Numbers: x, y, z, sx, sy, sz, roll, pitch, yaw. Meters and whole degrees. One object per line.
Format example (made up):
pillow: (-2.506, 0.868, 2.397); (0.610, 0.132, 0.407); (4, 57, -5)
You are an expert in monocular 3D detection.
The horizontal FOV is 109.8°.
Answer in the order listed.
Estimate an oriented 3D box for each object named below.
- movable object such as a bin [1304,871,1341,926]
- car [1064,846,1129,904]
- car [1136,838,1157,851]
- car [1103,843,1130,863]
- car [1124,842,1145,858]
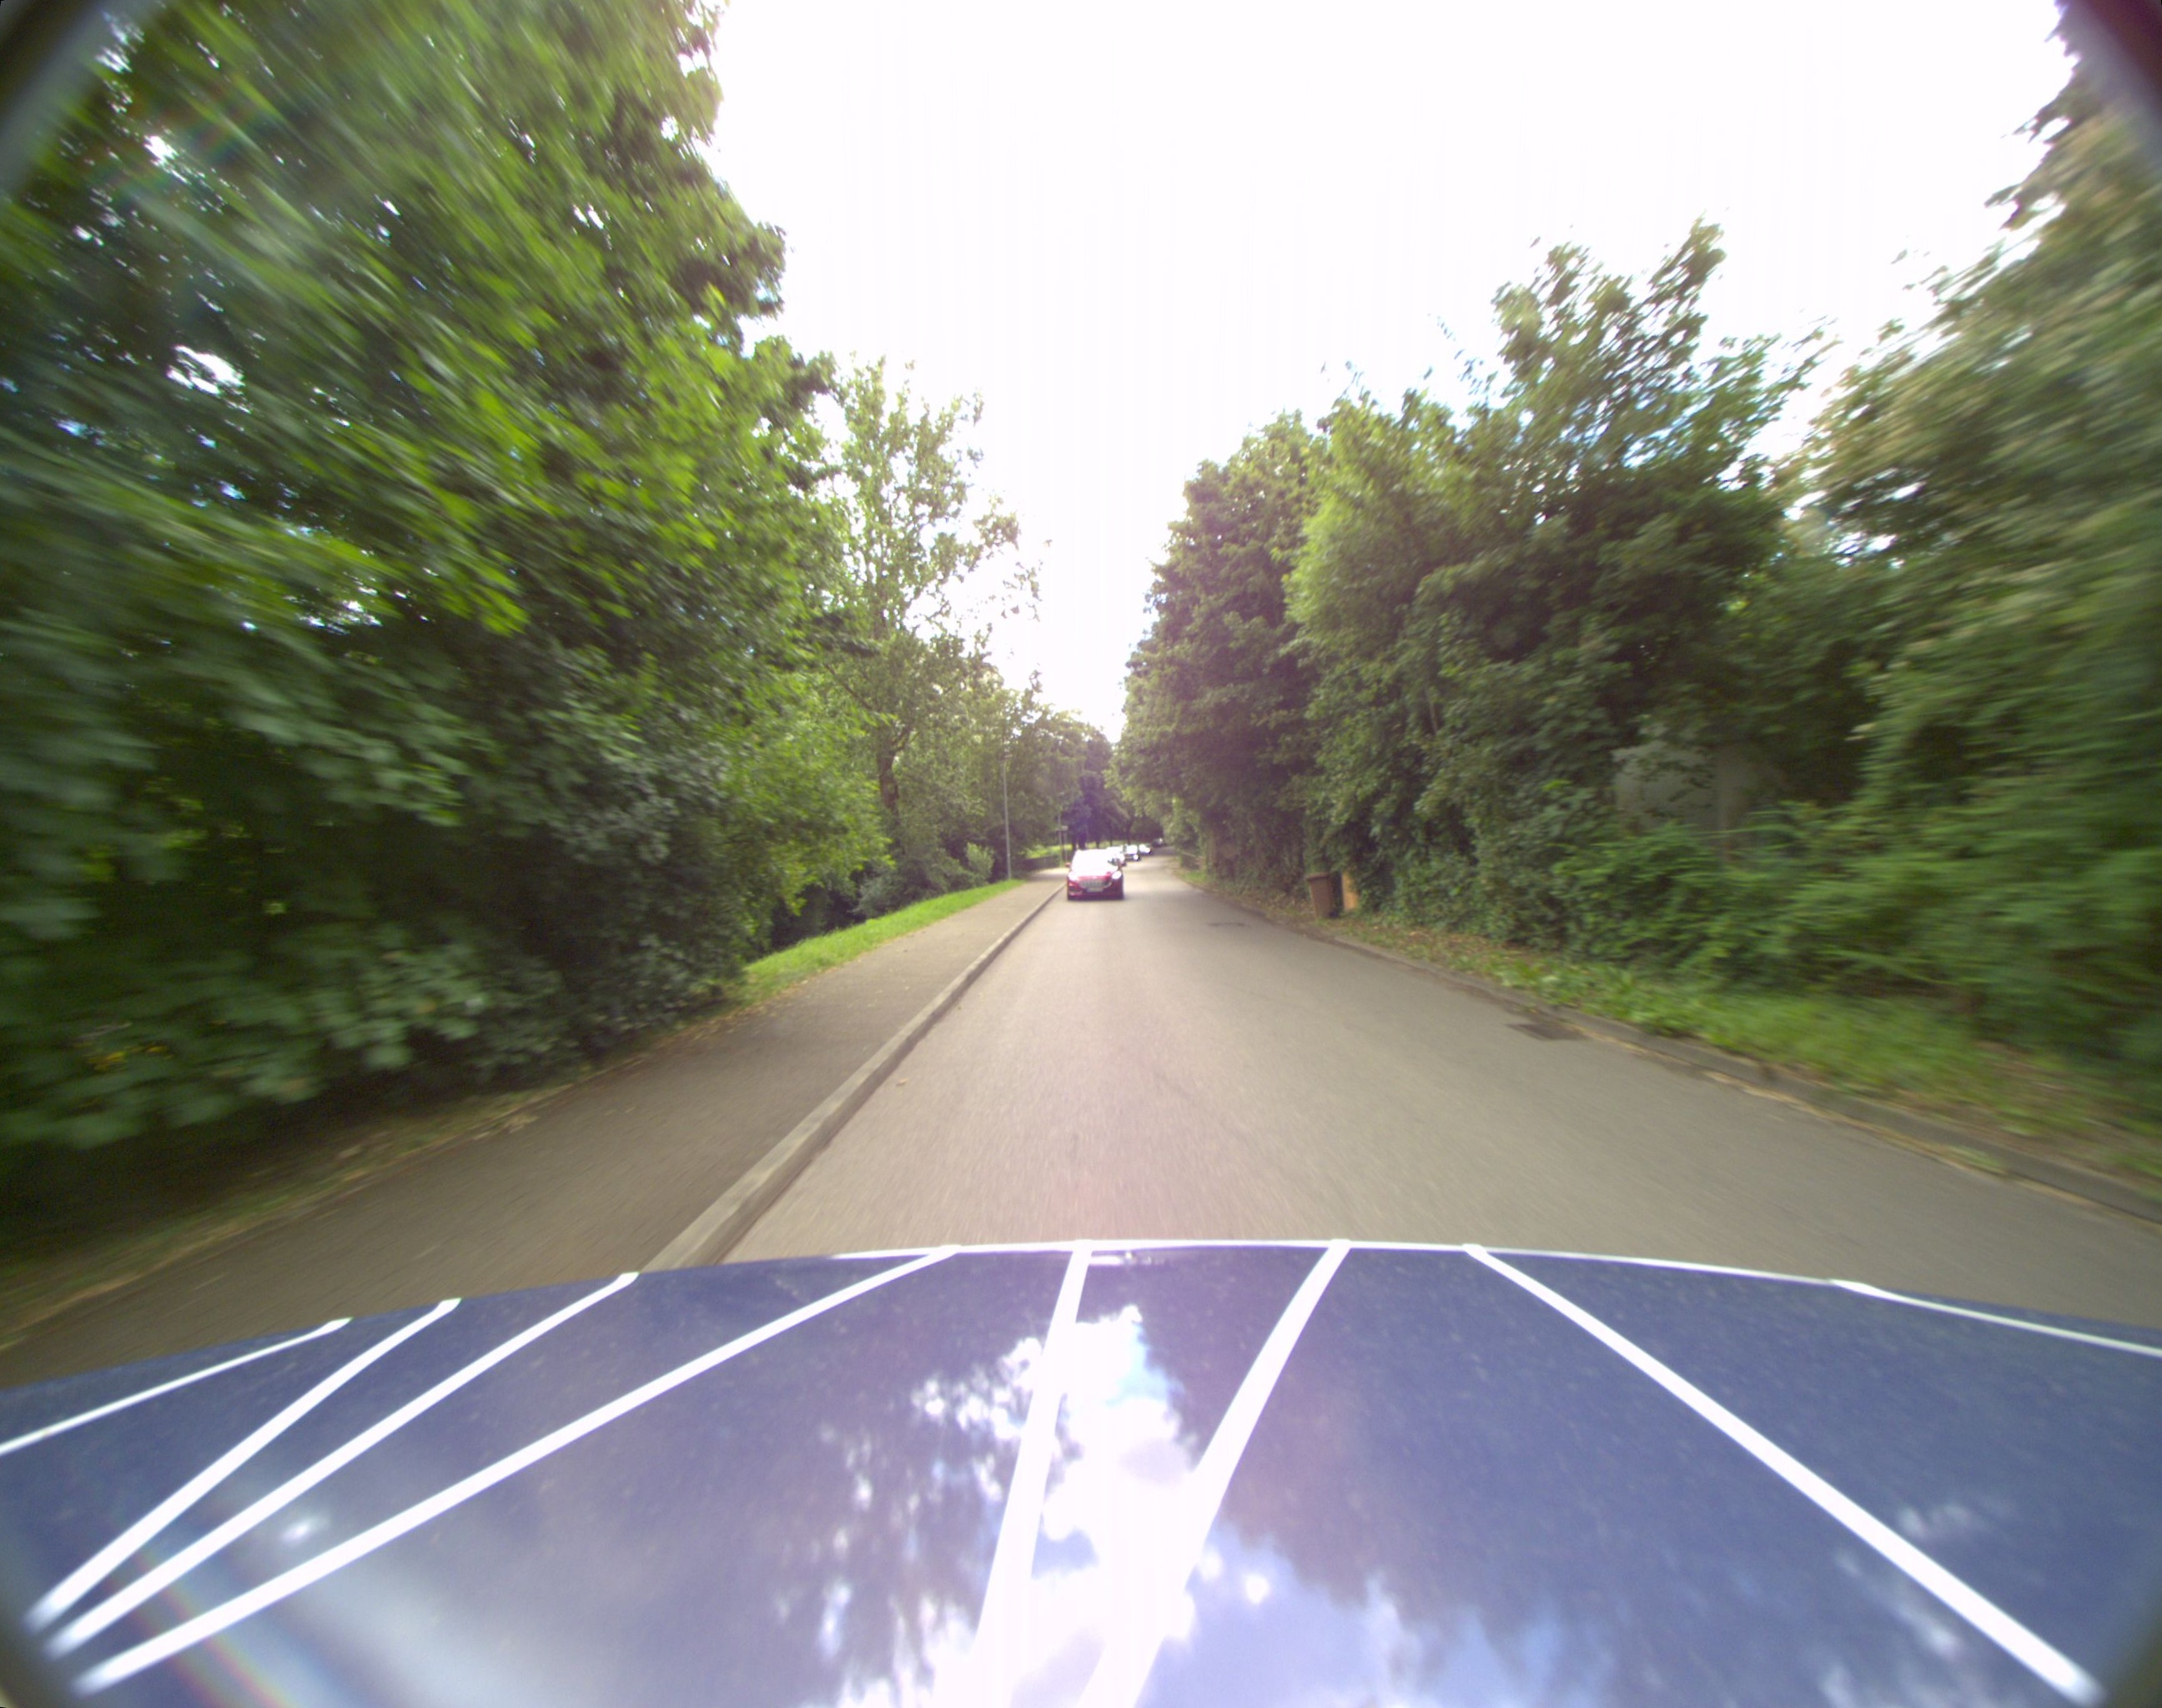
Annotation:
movable object such as a bin: (4.616, 0.844, 14.556); (0.649, 1.007, 0.632); (-1, 2, 16)
car: (0.601, 0.613, 25.323); (1.816, 1.717, 4.001); (-1, 1, 6)
car: (8.318, -1.200, 96.101); (1.996, 1.521, 4.003); (-2, 1, 14)
car: (3.016, -0.081, 64.220); (1.998, 1.521, 4.001); (-2, 1, 6)
car: (5.592, -0.430, 79.611); (1.998, 1.521, 4.001); (-2, 1, 6)
